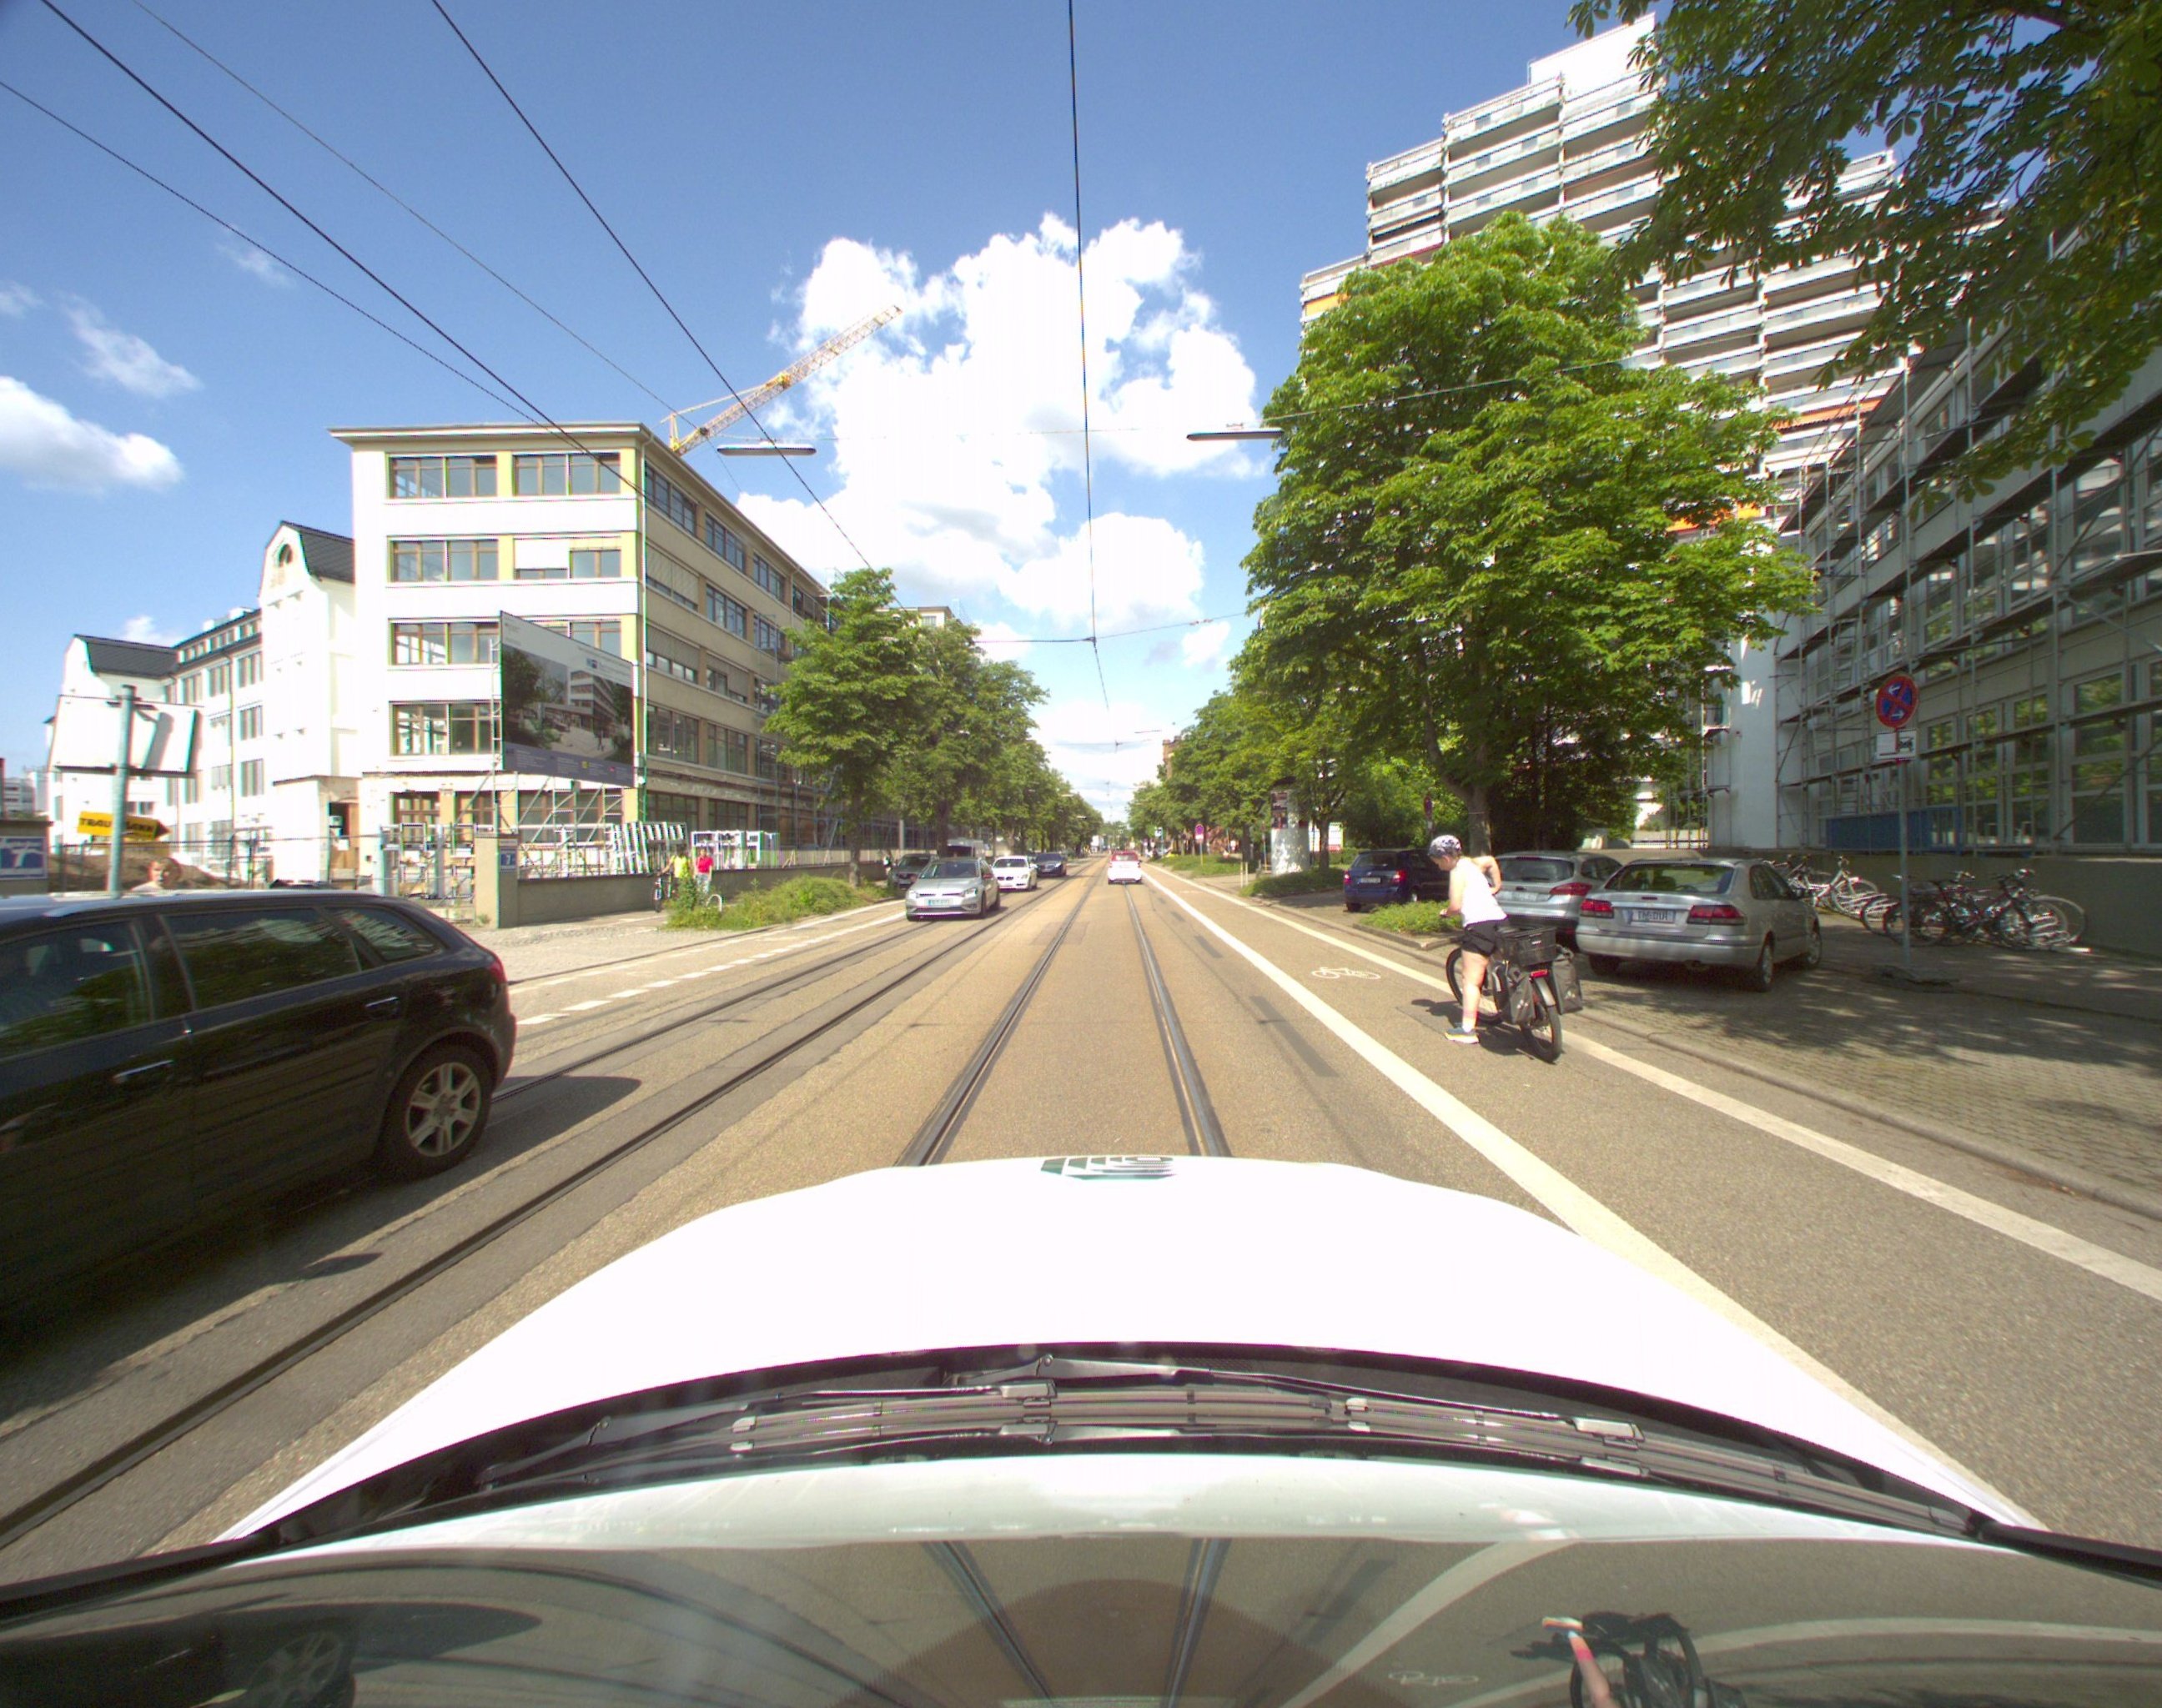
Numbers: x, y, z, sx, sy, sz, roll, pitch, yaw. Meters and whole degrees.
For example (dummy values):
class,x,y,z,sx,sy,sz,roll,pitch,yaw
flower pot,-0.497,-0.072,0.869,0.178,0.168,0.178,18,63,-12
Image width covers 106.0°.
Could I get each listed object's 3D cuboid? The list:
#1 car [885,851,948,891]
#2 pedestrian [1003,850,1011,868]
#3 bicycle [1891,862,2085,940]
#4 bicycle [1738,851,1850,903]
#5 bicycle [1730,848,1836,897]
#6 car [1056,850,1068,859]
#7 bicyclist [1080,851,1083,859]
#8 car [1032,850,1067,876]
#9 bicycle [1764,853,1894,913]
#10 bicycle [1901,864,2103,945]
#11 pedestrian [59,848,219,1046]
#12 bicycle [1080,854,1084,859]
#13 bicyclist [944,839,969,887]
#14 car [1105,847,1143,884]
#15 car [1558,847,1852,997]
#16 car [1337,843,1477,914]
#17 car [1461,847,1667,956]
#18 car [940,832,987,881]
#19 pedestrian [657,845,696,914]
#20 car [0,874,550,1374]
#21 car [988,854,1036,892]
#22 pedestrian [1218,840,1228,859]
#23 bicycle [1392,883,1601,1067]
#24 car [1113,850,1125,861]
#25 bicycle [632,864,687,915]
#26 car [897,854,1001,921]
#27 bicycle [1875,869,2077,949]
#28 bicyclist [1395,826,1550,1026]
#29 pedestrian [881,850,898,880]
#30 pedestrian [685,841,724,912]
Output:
class,x,y,z,sx,sy,sz,roll,pitch,yaw
car,-7.313,0.722,36.559,1.797,1.662,4.105,1,0,2
pedestrian,-8.310,0.522,91.616,0.802,2.013,0.484,-1,0,-7
bicycle,13.637,0.700,12.317,1.877,1.096,0.454,-2,0,33
bicycle,15.742,0.501,18.041,1.809,1.095,0.454,-1,1,33
bicycle,16.381,0.438,19.057,1.809,1.096,0.454,-1,1,33
car,-3.143,0.068,135.718,1.797,1.516,4.105,-1,0,2
bicyclist,0.137,0.111,162.399,0.656,1.579,0.946,1,0,0
car,-1.888,0.522,49.980,1.794,1.508,4.537,0,0,1
bicycle,14.617,0.575,15.979,1.809,1.095,0.454,-2,2,33
bicycle,13.364,0.728,11.893,1.877,1.096,0.454,-2,0,33
pedestrian,-8.304,0.768,7.220,0.730,1.637,0.685,1,0,-32
bicycle,0.157,0.408,162.548,0.615,0.973,1.718,-1,0,3
bicyclist,-5.395,0.404,35.349,0.873,2.014,0.834,-3,-1,1
car,2.023,0.514,39.233,1.659,1.624,3.621,-1,0,1
car,7.676,0.646,9.892,4.262,1.420,1.705,-1,1,-36
car,7.964,0.529,19.718,4.023,1.486,1.596,-2,0,-44
car,7.789,0.637,13.003,3.824,1.474,1.634,0,1,-40
car,-6.732,0.128,47.228,1.762,2.639,5.325,1,0,2
pedestrian,-10.771,0.672,21.688,0.706,1.793,0.661,1,0,-4
car,-3.965,0.830,2.673,1.717,1.376,4.001,-2,0,1
car,-2.731,0.737,32.913,1.682,1.405,4.223,-1,0,-2
pedestrian,15.134,-0.488,86.809,0.974,2.014,1.093,1,0,1
bicycle,3.269,0.872,6.687,0.870,1.125,2.141,1,1,8
car,5.565,0.252,120.313,1.659,1.492,3.622,-1,1,1
bicycle,-11.210,0.918,21.722,0.444,1.286,1.740,-1,0,4
car,-3.102,0.745,19.919,1.767,1.416,3.853,-2,0,1
bicycle,12.771,0.772,11.704,1.877,1.053,0.454,-2,0,33
bicyclist,3.227,0.549,6.829,0.885,1.529,1.087,1,0,8
pedestrian,-10.423,0.574,44.288,0.761,1.620,0.594,1,0,2
pedestrian,-10.052,0.593,21.760,0.706,1.831,0.661,2,1,-4
